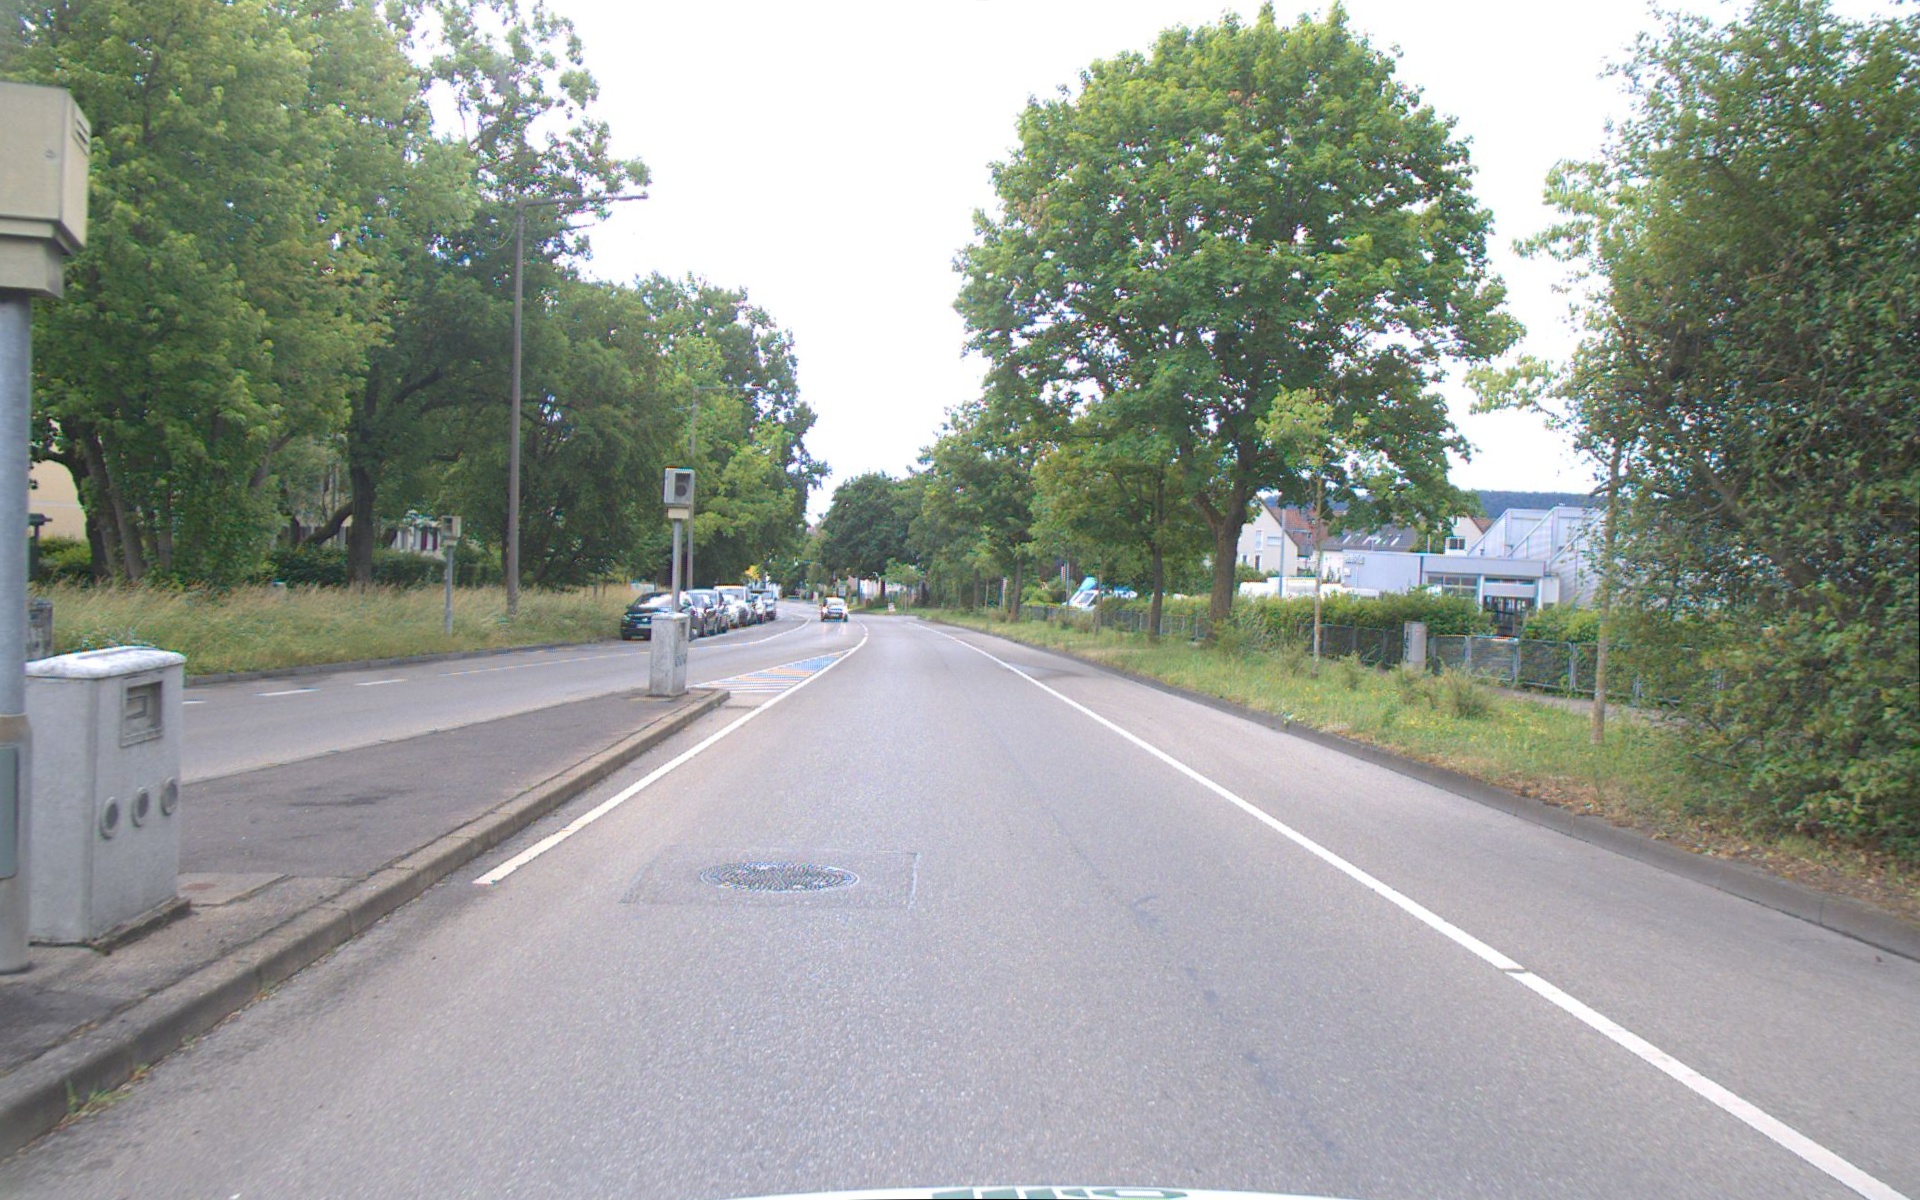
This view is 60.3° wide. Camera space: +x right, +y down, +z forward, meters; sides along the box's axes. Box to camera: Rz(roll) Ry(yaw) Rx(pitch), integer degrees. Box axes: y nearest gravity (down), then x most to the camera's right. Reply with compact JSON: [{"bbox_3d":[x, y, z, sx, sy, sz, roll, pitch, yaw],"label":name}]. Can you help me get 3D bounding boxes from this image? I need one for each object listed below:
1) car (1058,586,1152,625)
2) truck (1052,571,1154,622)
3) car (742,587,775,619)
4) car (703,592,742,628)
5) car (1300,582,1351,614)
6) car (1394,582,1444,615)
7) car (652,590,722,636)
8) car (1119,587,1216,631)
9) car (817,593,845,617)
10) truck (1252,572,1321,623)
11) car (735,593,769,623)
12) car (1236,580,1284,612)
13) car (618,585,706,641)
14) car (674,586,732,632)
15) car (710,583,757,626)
[{"bbox_3d":[9.757,0.363,111.402,5.940,2.408,2.341,2,-1,-28],"label":"car"},{"bbox_3d":[10.357,-0.248,119.351,7.082,3.538,2.595,1,0,-29],"label":"truck"},{"bbox_3d":[-12.820,0.196,105.470,1.830,1.998,5.121,1,0,-5],"label":"car"},{"bbox_3d":[-10.613,0.430,74.104,1.604,1.458,3.944,2,0,-7],"label":"car"},{"bbox_3d":[32.835,-0.230,148.367,2.221,2.723,5.421,2,2,40],"label":"car"},{"bbox_3d":[40.880,-0.146,147.362,2.221,2.723,5.421,2,2,40],"label":"car"},{"bbox_3d":[-9.346,0.411,56.890,1.732,1.473,4.149,1,0,0],"label":"car"},{"bbox_3d":[11.614,0.494,92.502,5.186,2.226,2.052,2,-1,-29],"label":"car"},{"bbox_3d":[-8.120,0.295,104.490,1.604,1.493,3.998,0,0,-2],"label":"car"},{"bbox_3d":[24.280,-0.168,123.481,2.796,3.519,9.537,2,0,-2],"label":"truck"},{"bbox_3d":[-11.434,0.436,90.997,1.640,1.592,4.277,1,0,-5],"label":"car"},{"bbox_3d":[27.194,-0.349,149.910,2.217,2.723,5.432,2,2,35],"label":"car"},{"bbox_3d":[-9.227,0.401,51.563,1.837,1.598,4.650,2,0,0],"label":"car"},{"bbox_3d":[-9.640,0.324,62.302,1.733,1.619,4.132,1,0,-4],"label":"car"},{"bbox_3d":[-10.894,0.193,79.869,1.733,1.964,5.152,2,0,-3],"label":"car"}]
